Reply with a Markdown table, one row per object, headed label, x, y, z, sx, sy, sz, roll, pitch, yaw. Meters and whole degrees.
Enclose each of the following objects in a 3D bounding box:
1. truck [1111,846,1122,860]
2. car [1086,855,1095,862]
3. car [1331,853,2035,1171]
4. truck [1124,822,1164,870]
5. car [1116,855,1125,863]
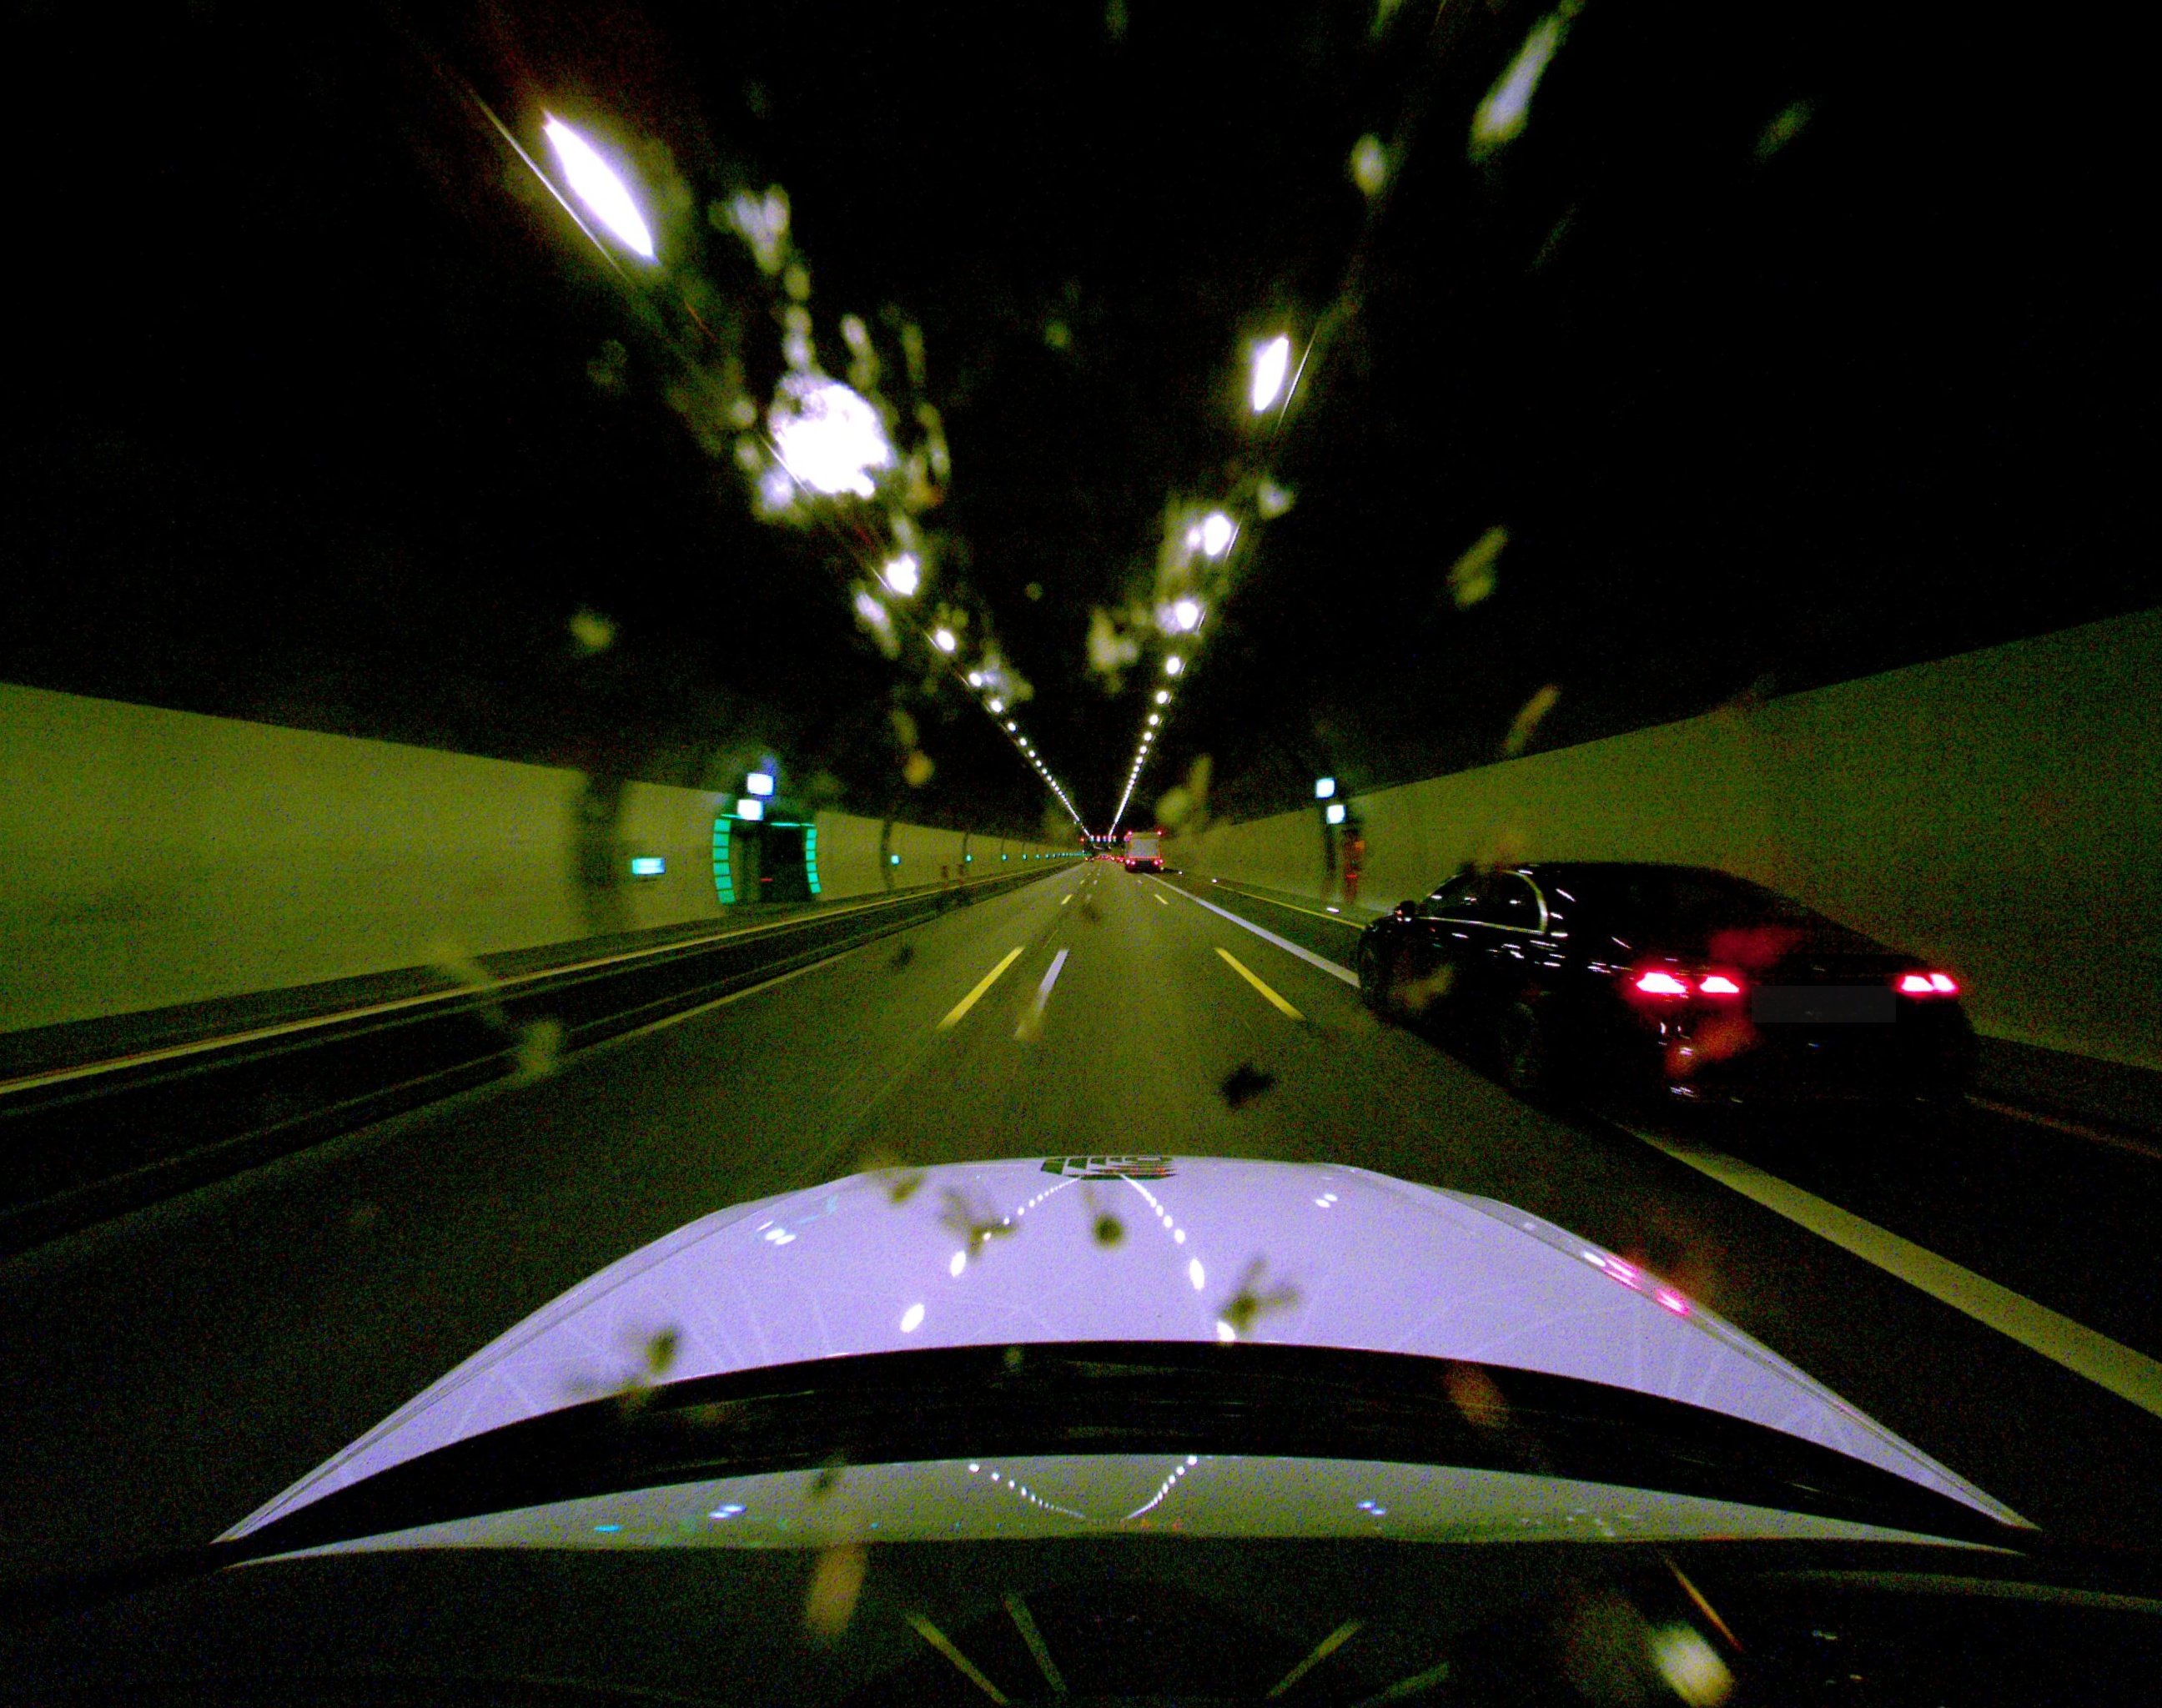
| label | x | y | z | sx | sy | sz | roll | pitch | yaw |
| --- | --- | --- | --- | --- | --- | --- | --- | --- | --- |
| truck | 10.412 | -0.301 | 238.127 | 3.054 | 3.918 | 10.375 | 1 | -1 | 3 |
| car | 2.044 | 0.968 | 168.689 | 1.752 | 1.461 | 4.121 | 0 | 0 | 2 |
| car | 3.573 | 0.749 | 6.294 | 1.918 | 1.472 | 4.956 | 0 | 0 | 2 |
| truck | 5.467 | -0.557 | 72.309 | 3.080 | 3.918 | 10.371 | 1 | -1 | 2 |
| car | 7.832 | 1.008 | 160.843 | 1.732 | 1.461 | 3.963 | 0 | 0 | 3 |
